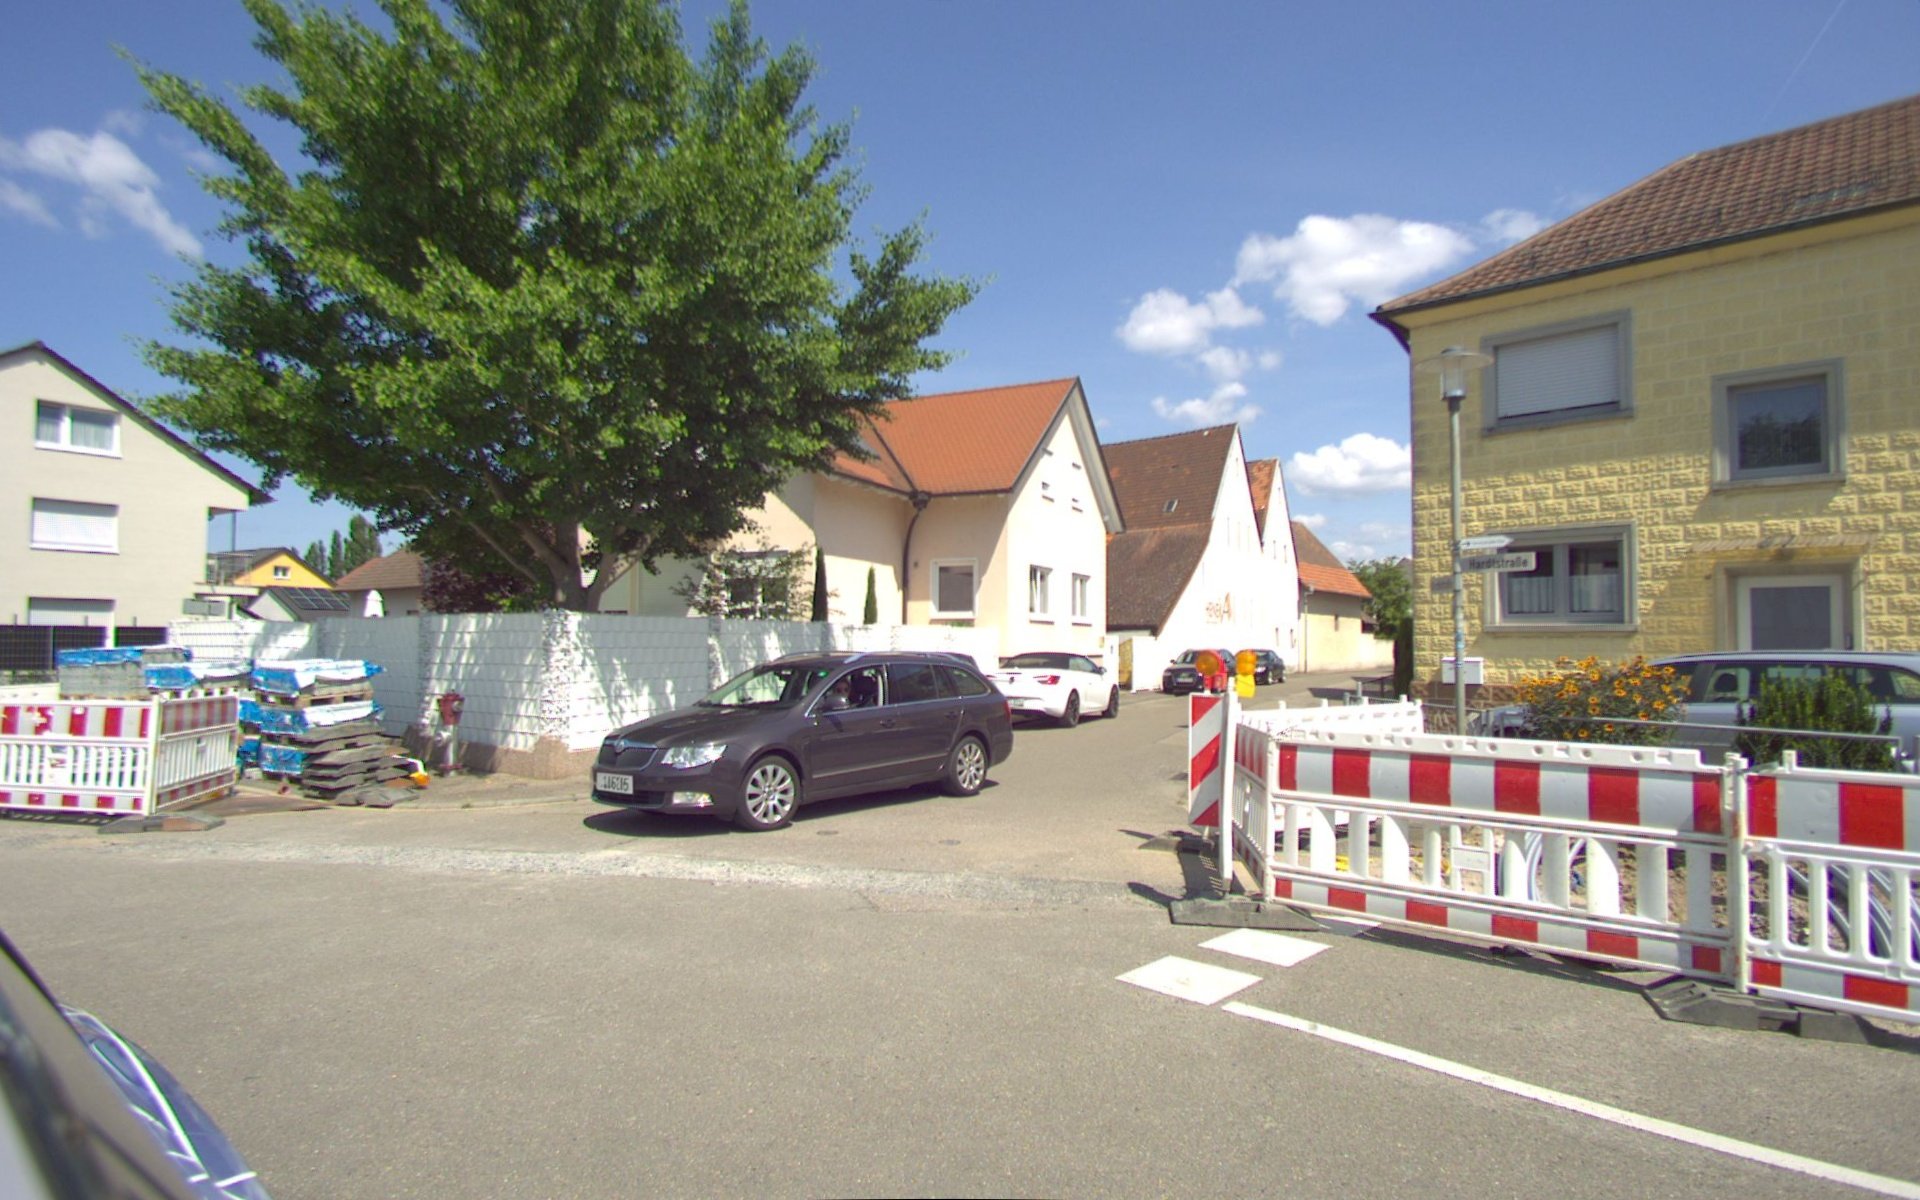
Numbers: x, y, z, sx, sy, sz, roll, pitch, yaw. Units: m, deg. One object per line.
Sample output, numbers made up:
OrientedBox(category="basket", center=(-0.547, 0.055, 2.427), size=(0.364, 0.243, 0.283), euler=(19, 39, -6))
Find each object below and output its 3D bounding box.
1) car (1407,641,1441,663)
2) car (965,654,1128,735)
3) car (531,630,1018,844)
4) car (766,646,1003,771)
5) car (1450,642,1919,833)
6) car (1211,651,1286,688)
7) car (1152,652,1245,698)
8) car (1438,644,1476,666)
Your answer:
OrientedBox(category="car", center=(32.987, 3.697, 71.902), size=(1.780, 1.490, 3.956), euler=(-1, -3, 32))
OrientedBox(category="car", center=(1.932, 1.865, 21.072), size=(1.891, 1.439, 4.696), euler=(-1, -3, 25))
OrientedBox(category="car", center=(-1.467, 1.237, 9.761), size=(1.783, 1.547, 4.651), euler=(-6, -8, 36))
OrientedBox(category="car", center=(-0.957, 1.515, 14.966), size=(1.708, 1.544, 4.001), euler=(-5, -4, 25))
OrientedBox(category="car", center=(7.368, 1.153, 9.752), size=(1.762, 1.497, 4.485), euler=(2, -3, -33))
OrientedBox(category="car", center=(11.608, 2.737, 40.502), size=(1.894, 1.375, 4.369), euler=(-2, -3, 29))
OrientedBox(category="car", center=(7.972, 2.417, 33.505), size=(1.893, 1.375, 4.692), euler=(-2, -3, 28))
OrientedBox(category="car", center=(38.714, 4.289, 78.785), size=(1.784, 1.622, 3.948), euler=(-5, -5, 38))
